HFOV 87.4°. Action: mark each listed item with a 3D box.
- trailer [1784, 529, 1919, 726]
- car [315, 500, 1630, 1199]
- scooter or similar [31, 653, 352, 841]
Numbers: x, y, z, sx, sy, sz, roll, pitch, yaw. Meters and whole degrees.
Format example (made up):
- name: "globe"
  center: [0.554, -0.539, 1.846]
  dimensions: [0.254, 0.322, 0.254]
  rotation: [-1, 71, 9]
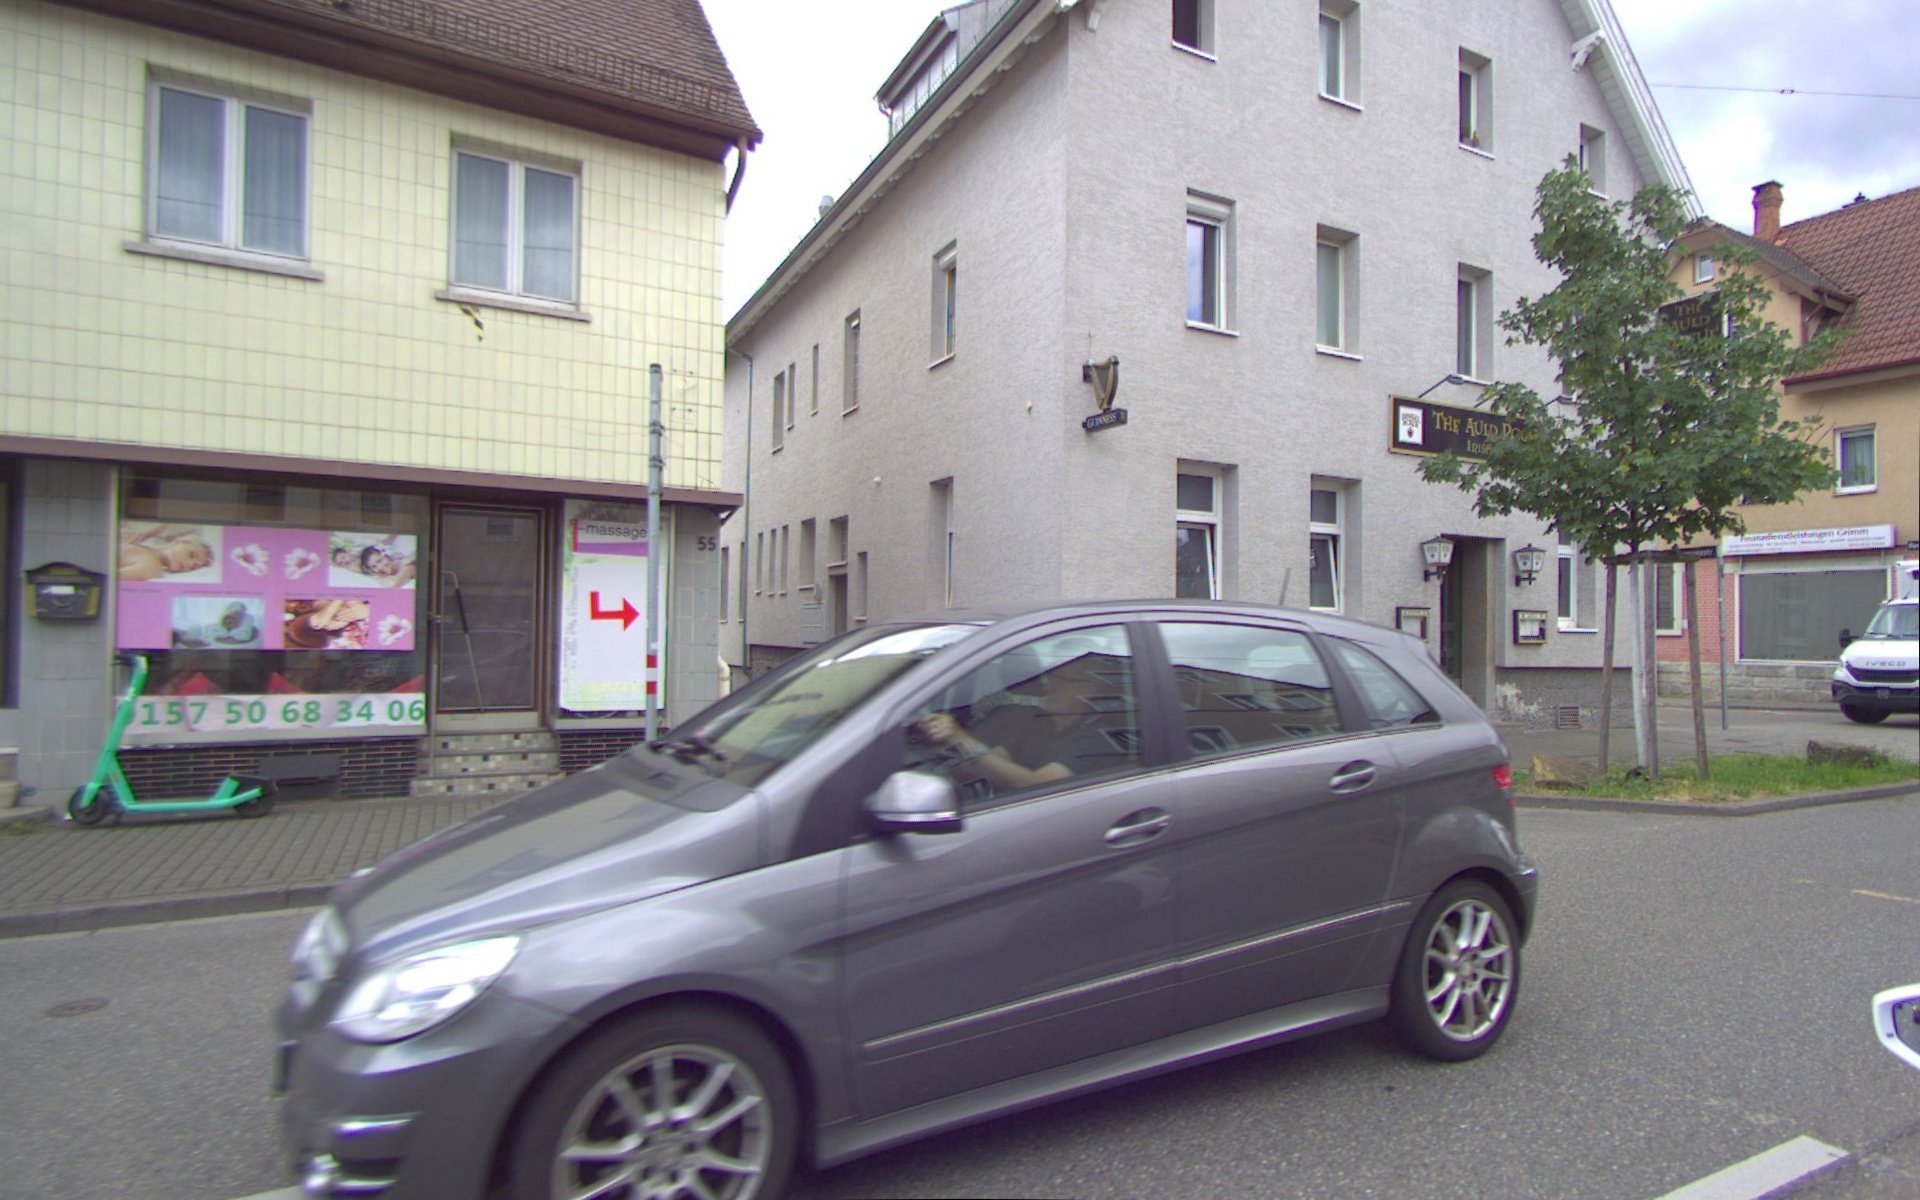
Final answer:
- name: "trailer"
  center: [18.965, 0.543, 18.465]
  dimensions: [7.022, 3.262, 2.501]
  rotation: [1, -1, -18]
- name: "car"
  center: [0.243, 0.706, 3.515]
  dimensions: [4.023, 1.572, 1.774]
  rotation: [2, -4, -28]
- name: "scooter or similar"
  center: [-5.321, 0.982, 7.089]
  dimensions: [1.699, 1.185, 0.526]
  rotation: [2, 0, -27]
